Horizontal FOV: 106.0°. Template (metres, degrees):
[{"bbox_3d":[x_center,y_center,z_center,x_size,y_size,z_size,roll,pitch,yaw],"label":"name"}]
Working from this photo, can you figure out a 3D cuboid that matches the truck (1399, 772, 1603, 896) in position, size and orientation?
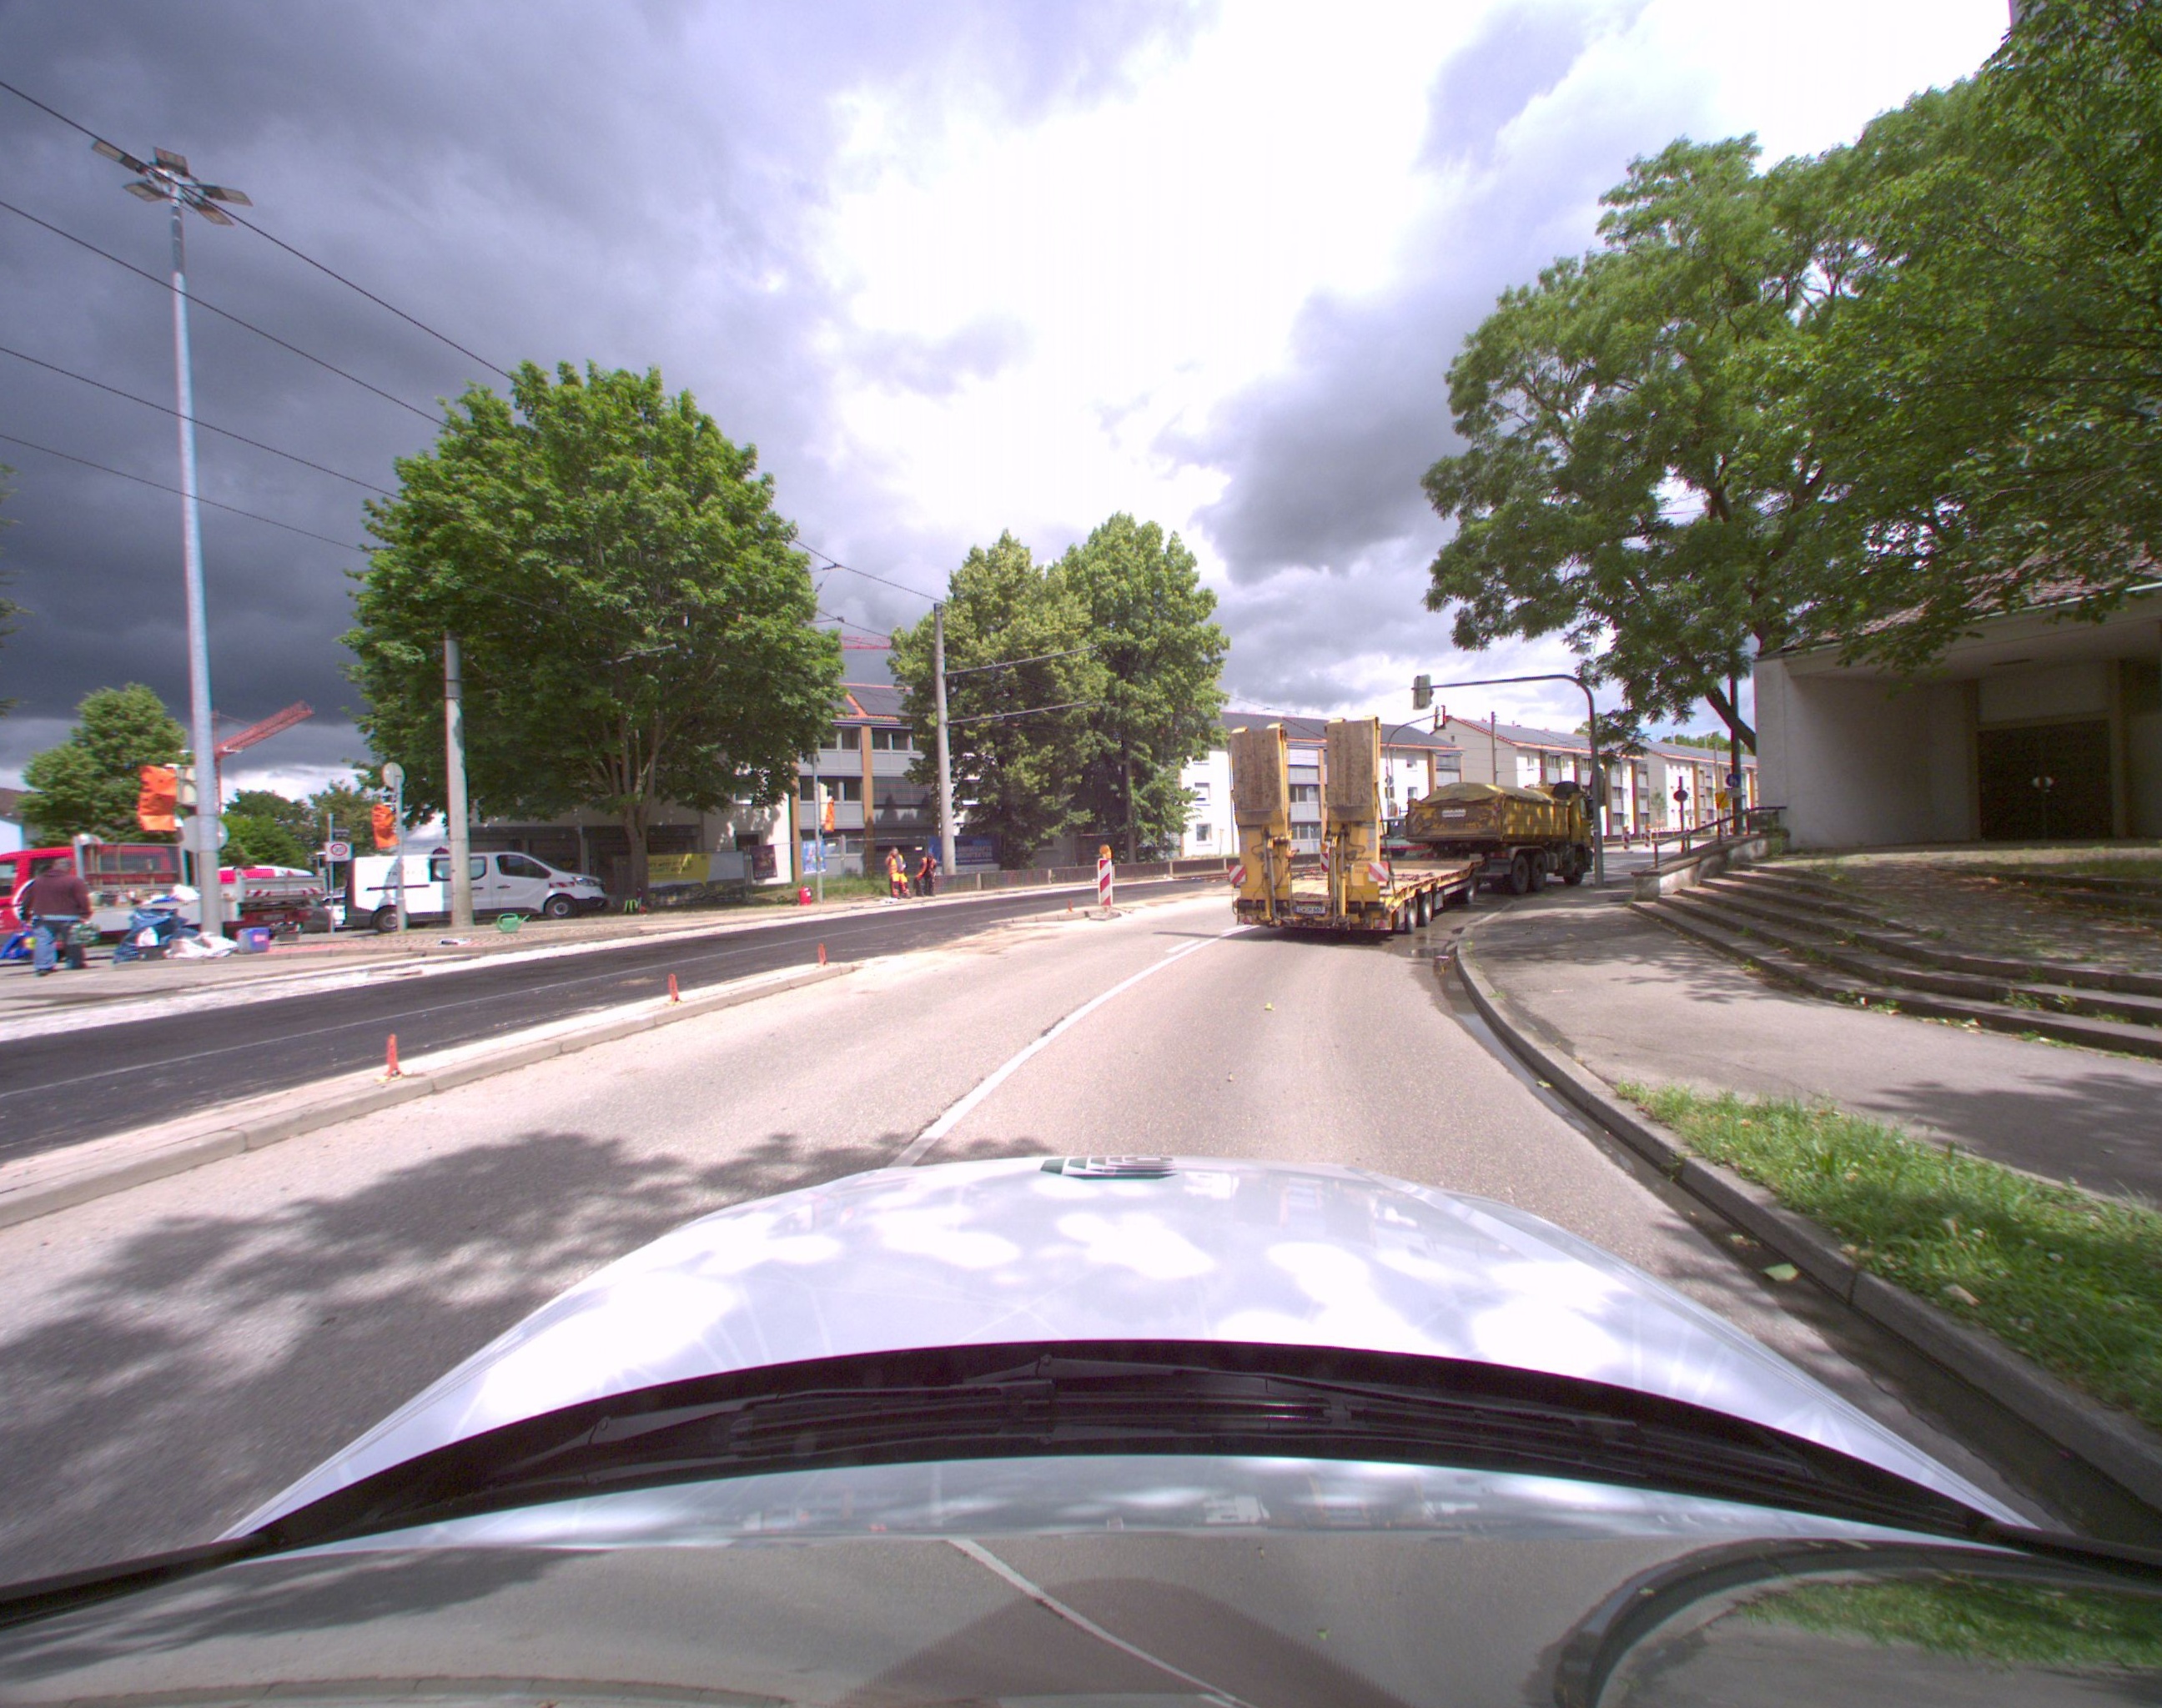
[{"bbox_3d":[12.802,-0.659,24.422,7.723,3.166,2.892,-3,2,-42],"label":"truck"}]

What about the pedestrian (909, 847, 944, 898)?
[{"bbox_3d":[-4.827,0.570,25.413,0.907,1.533,0.836,-3,0,-18],"label":"pedestrian"}]

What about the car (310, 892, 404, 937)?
[{"bbox_3d":[-27.666,2.268,31.266,1.782,1.459,3.841,-3,0,-28],"label":"car"}]

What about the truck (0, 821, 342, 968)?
[{"bbox_3d":[-19.565,0.815,17.034,5.560,2.568,2.414,-4,0,-7],"label":"truck"}]

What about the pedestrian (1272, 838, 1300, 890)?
[{"bbox_3d":[6.266,0.290,24.924,0.757,1.551,0.904,-1,1,11],"label":"pedestrian"}]

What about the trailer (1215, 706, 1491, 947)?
[{"bbox_3d":[6.440,-0.495,17.327,2.795,3.523,11.123,0,1,33],"label":"trailer"}]

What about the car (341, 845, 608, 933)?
[{"bbox_3d":[-15.568,0.855,21.353,5.261,1.887,1.982,-3,-2,-26],"label":"car"}]

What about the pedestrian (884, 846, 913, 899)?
[{"bbox_3d":[-5.576,0.554,24.842,0.762,1.541,0.793,-2,0,-17],"label":"pedestrian"}]

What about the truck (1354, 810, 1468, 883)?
[{"bbox_3d":[13.836,-0.394,33.882,2.636,2.725,6.437,-1,2,39],"label":"truck"}]

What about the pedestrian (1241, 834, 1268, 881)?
[{"bbox_3d":[6.219,0.117,29.203,0.698,1.668,0.833,-1,-1,29],"label":"pedestrian"}]

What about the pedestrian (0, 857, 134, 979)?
[{"bbox_3d":[-14.883,0.904,11.922,0.925,1.659,0.872,-2,1,-9],"label":"pedestrian"}]

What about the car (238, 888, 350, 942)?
[{"bbox_3d":[-25.090,1.885,26.092,1.567,1.454,3.177,-3,0,-25],"label":"car"}]
